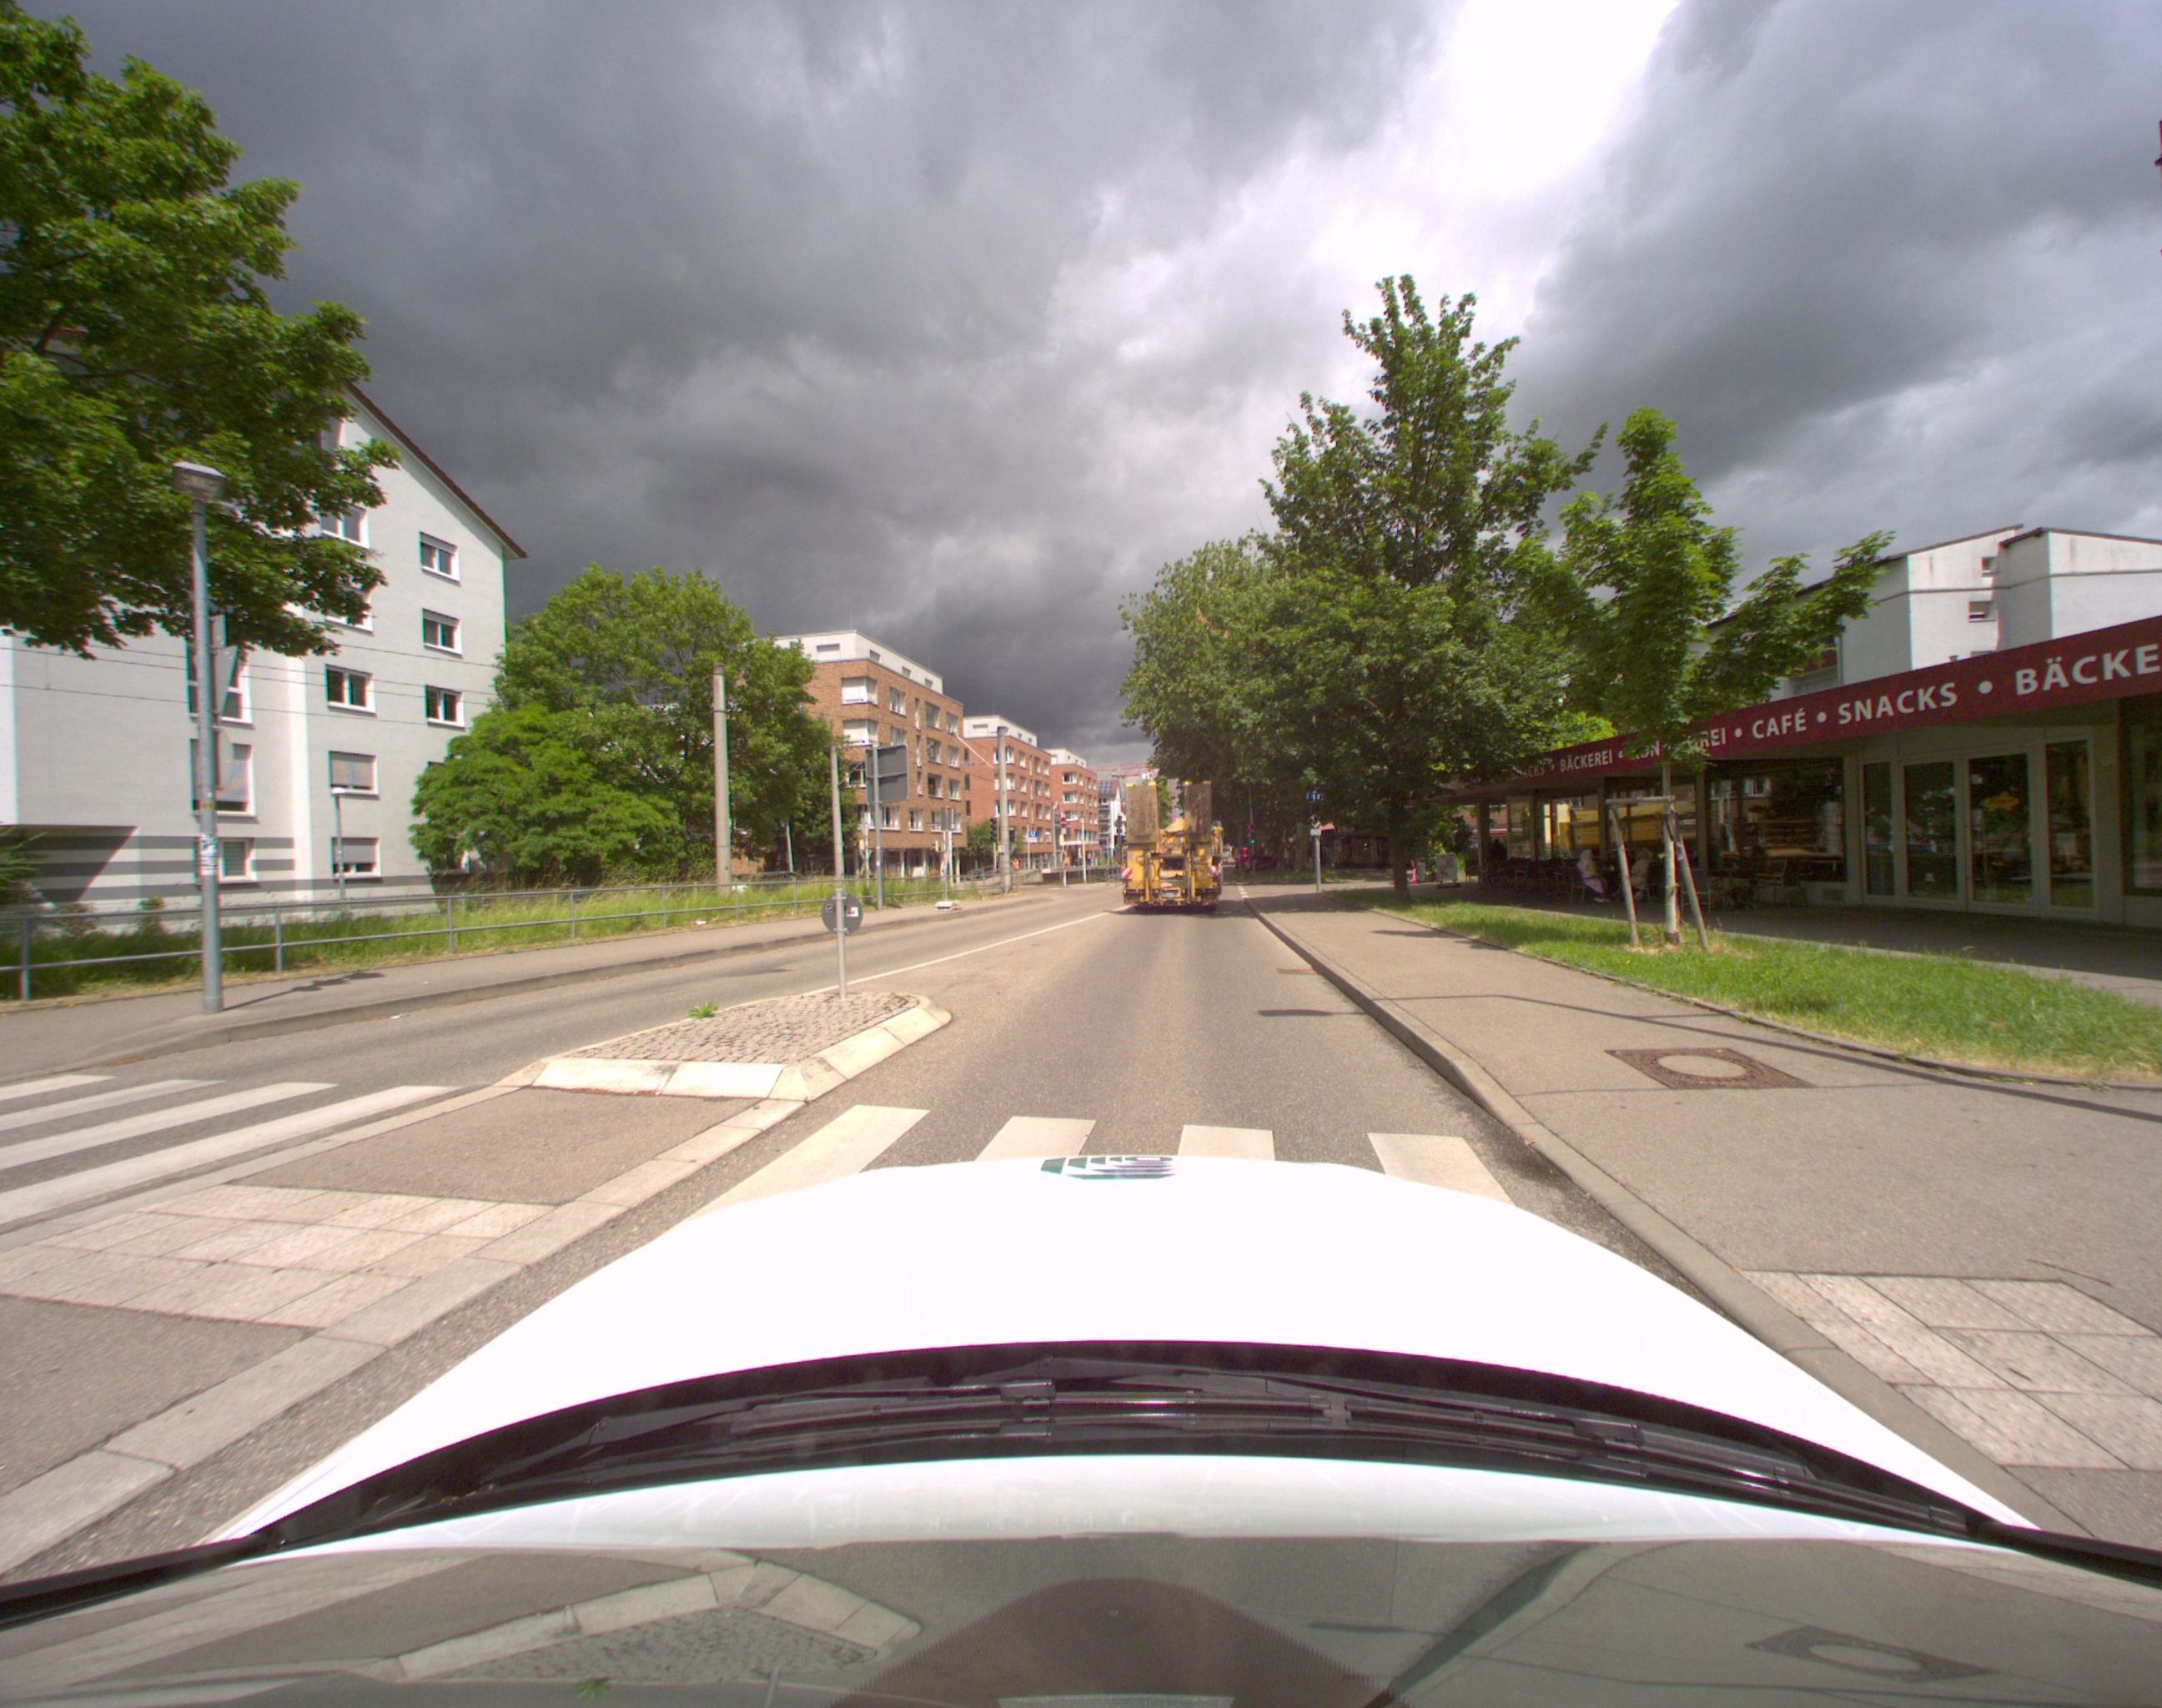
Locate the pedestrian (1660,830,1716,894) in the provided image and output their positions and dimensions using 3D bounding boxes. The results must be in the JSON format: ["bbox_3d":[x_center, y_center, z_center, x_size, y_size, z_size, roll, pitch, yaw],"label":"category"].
[{"bbox_3d":[13.587,0.168,18.241,0.714,1.380,0.700,-2,-1,7],"label":"pedestrian"}]

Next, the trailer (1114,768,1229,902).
[{"bbox_3d":[3.215,-0.474,26.710,2.847,3.372,10.868,-2,0,9],"label":"trailer"}]

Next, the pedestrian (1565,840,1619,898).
[{"bbox_3d":[11.996,0.348,19.132,0.872,1.325,0.612,-2,0,9],"label":"pedestrian"}]

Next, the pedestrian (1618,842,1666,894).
[{"bbox_3d":[13.468,0.340,19.579,0.712,1.201,0.701,-2,-1,14],"label":"pedestrian"}]

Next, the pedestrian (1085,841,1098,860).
[{"bbox_3d":[1.134,-0.385,89.400,1.128,2.013,1.002,-2,-1,16],"label":"pedestrian"}]

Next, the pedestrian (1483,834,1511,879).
[{"bbox_3d":[14.826,0.101,29.035,0.693,1.573,0.558,-2,-1,4],"label":"pedestrian"}]

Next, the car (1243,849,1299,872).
[{"bbox_3d":[14.060,0.460,60.336,3.960,1.511,2.008,-1,3,12],"label":"car"}]

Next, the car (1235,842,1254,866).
[{"bbox_3d":[19.590,-0.042,97.478,1.979,2.827,5.134,2,1,14],"label":"car"}]

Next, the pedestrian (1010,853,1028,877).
[{"bbox_3d":[-5.302,0.914,69.886,1.128,2.013,1.002,-2,-1,16],"label":"pedestrian"}]

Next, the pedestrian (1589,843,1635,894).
[{"bbox_3d":[12.903,0.353,19.817,0.712,1.201,0.701,-2,-1,14],"label":"pedestrian"}]

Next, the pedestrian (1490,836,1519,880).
[{"bbox_3d":[14.785,0.144,28.460,0.693,1.488,0.558,-2,-1,4],"label":"pedestrian"}]

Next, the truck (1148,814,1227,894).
[{"bbox_3d":[4.908,0.025,36.312,2.970,3.035,8.509,-2,-1,10],"label":"truck"}]

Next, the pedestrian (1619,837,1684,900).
[{"bbox_3d":[12.738,0.300,18.192,0.874,1.324,0.823,-2,2,0],"label":"pedestrian"}]

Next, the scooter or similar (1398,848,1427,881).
[{"bbox_3d":[13.204,0.399,32.409,0.513,1.226,1.742,-2,1,40],"label":"scooter or similar"}]
